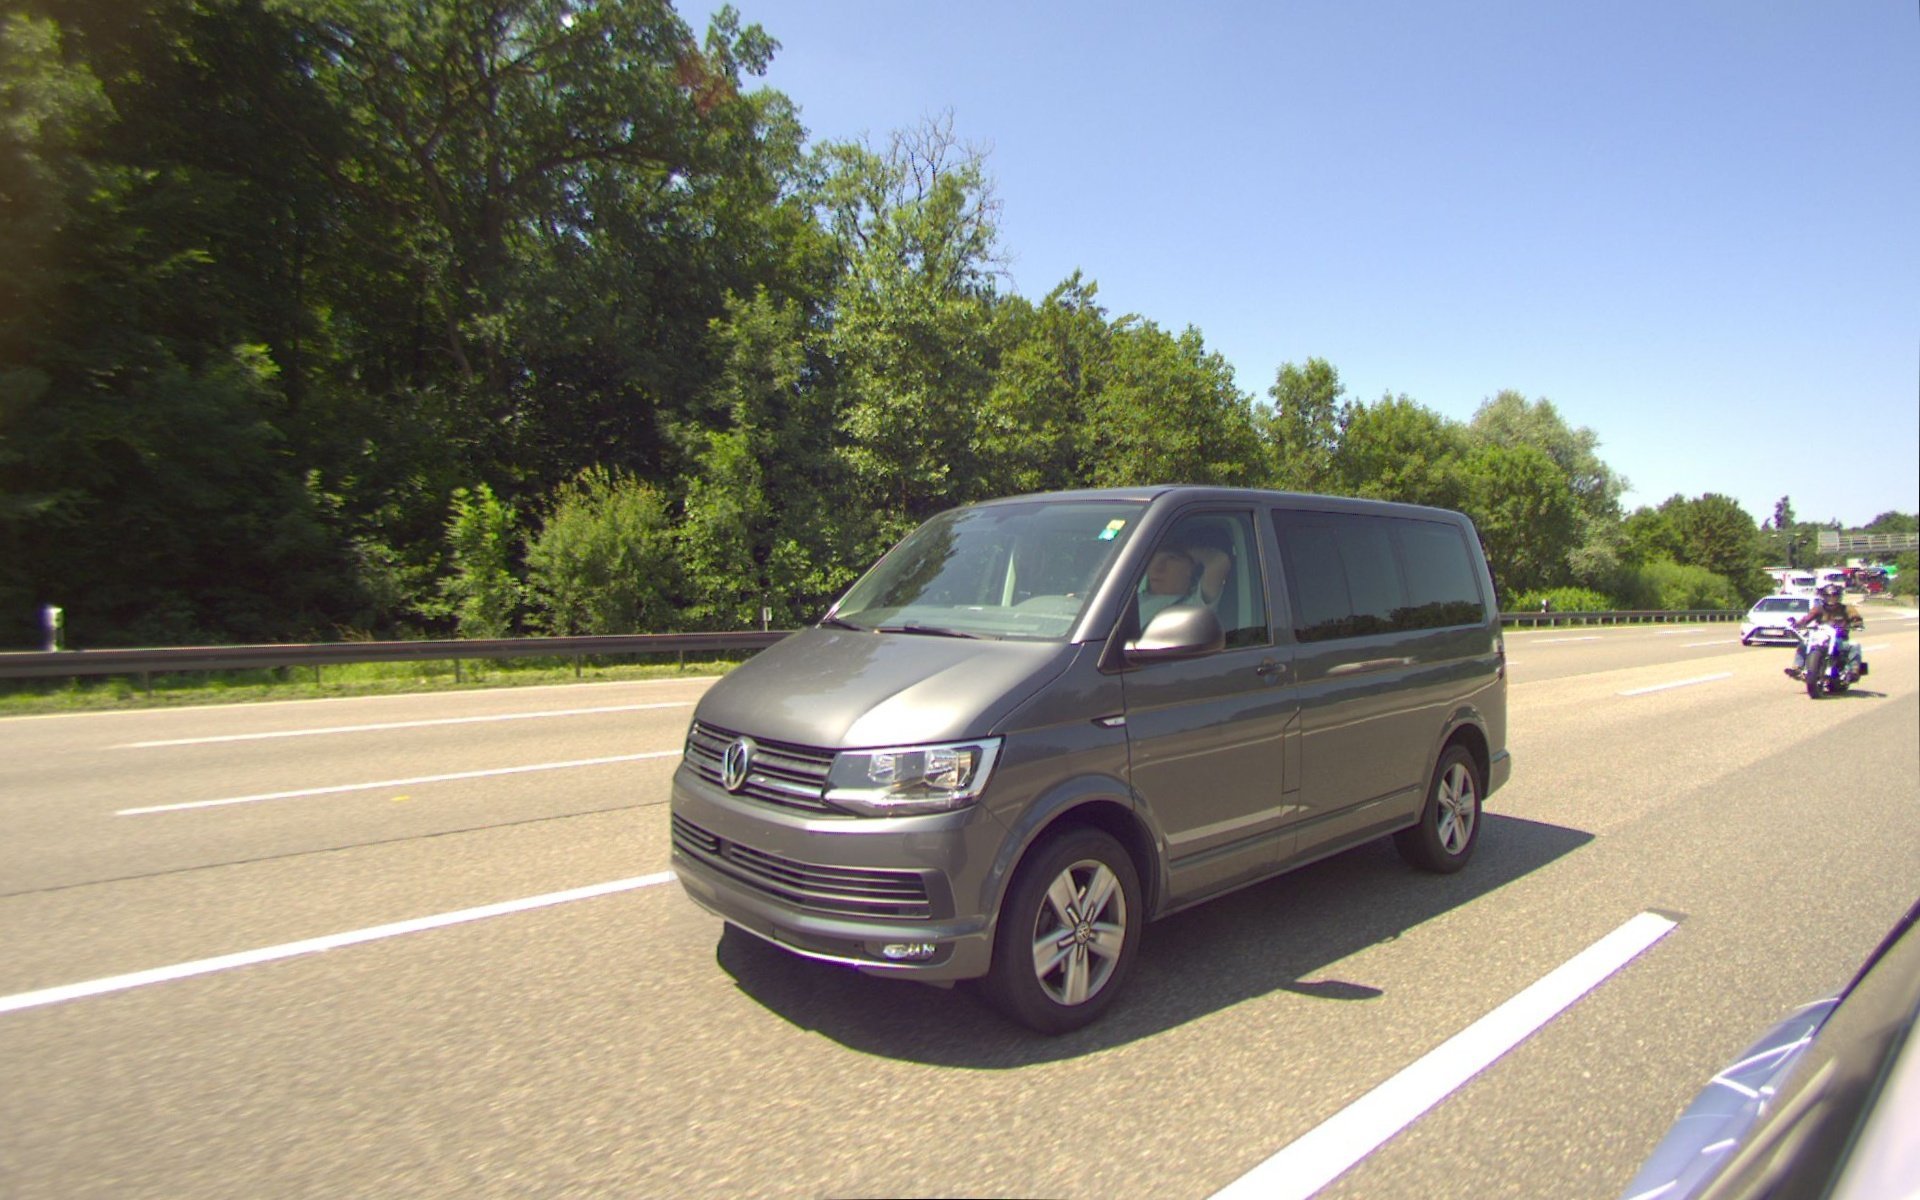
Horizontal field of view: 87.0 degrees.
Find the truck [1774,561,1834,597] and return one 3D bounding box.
[{"bbox_3d":[119.797,-3.000,143.857,3.214,4.783,7.170,-2,1,10],"label":"truck"}]

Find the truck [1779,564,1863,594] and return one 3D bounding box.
[{"bbox_3d":[134.701,-3.224,158.658,2.785,4.516,14.603,0,0,9],"label":"truck"}]

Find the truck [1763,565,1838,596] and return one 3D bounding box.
[{"bbox_3d":[128.898,-3.027,155.449,2.784,4.515,12.037,-2,1,8],"label":"truck"}]

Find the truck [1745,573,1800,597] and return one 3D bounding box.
[{"bbox_3d":[113.046,-2.141,140.963,2.419,3.163,8.988,-2,1,15],"label":"truck"}]

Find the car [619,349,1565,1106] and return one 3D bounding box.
[{"bbox_3d":[1.081,0.326,5.144,4.994,2.059,1.966,0,0,-41],"label":"car"}]

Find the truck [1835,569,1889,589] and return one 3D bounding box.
[{"bbox_3d":[145.203,-3.428,163.071,1.967,2.986,8.726,-2,1,10],"label":"truck"}]

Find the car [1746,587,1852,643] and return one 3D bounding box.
[{"bbox_3d":[24.737,0.399,29.797,4.406,1.538,1.752,0,0,-41],"label":"car"}]

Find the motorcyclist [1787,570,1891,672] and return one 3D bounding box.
[{"bbox_3d":[13.098,0.286,15.087,1.002,1.445,0.857,-1,1,-27],"label":"motorcyclist"}]

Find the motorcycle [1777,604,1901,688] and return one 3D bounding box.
[{"bbox_3d":[13.178,0.659,15.154,2.387,1.150,0.538,0,1,-27],"label":"motorcycle"}]
